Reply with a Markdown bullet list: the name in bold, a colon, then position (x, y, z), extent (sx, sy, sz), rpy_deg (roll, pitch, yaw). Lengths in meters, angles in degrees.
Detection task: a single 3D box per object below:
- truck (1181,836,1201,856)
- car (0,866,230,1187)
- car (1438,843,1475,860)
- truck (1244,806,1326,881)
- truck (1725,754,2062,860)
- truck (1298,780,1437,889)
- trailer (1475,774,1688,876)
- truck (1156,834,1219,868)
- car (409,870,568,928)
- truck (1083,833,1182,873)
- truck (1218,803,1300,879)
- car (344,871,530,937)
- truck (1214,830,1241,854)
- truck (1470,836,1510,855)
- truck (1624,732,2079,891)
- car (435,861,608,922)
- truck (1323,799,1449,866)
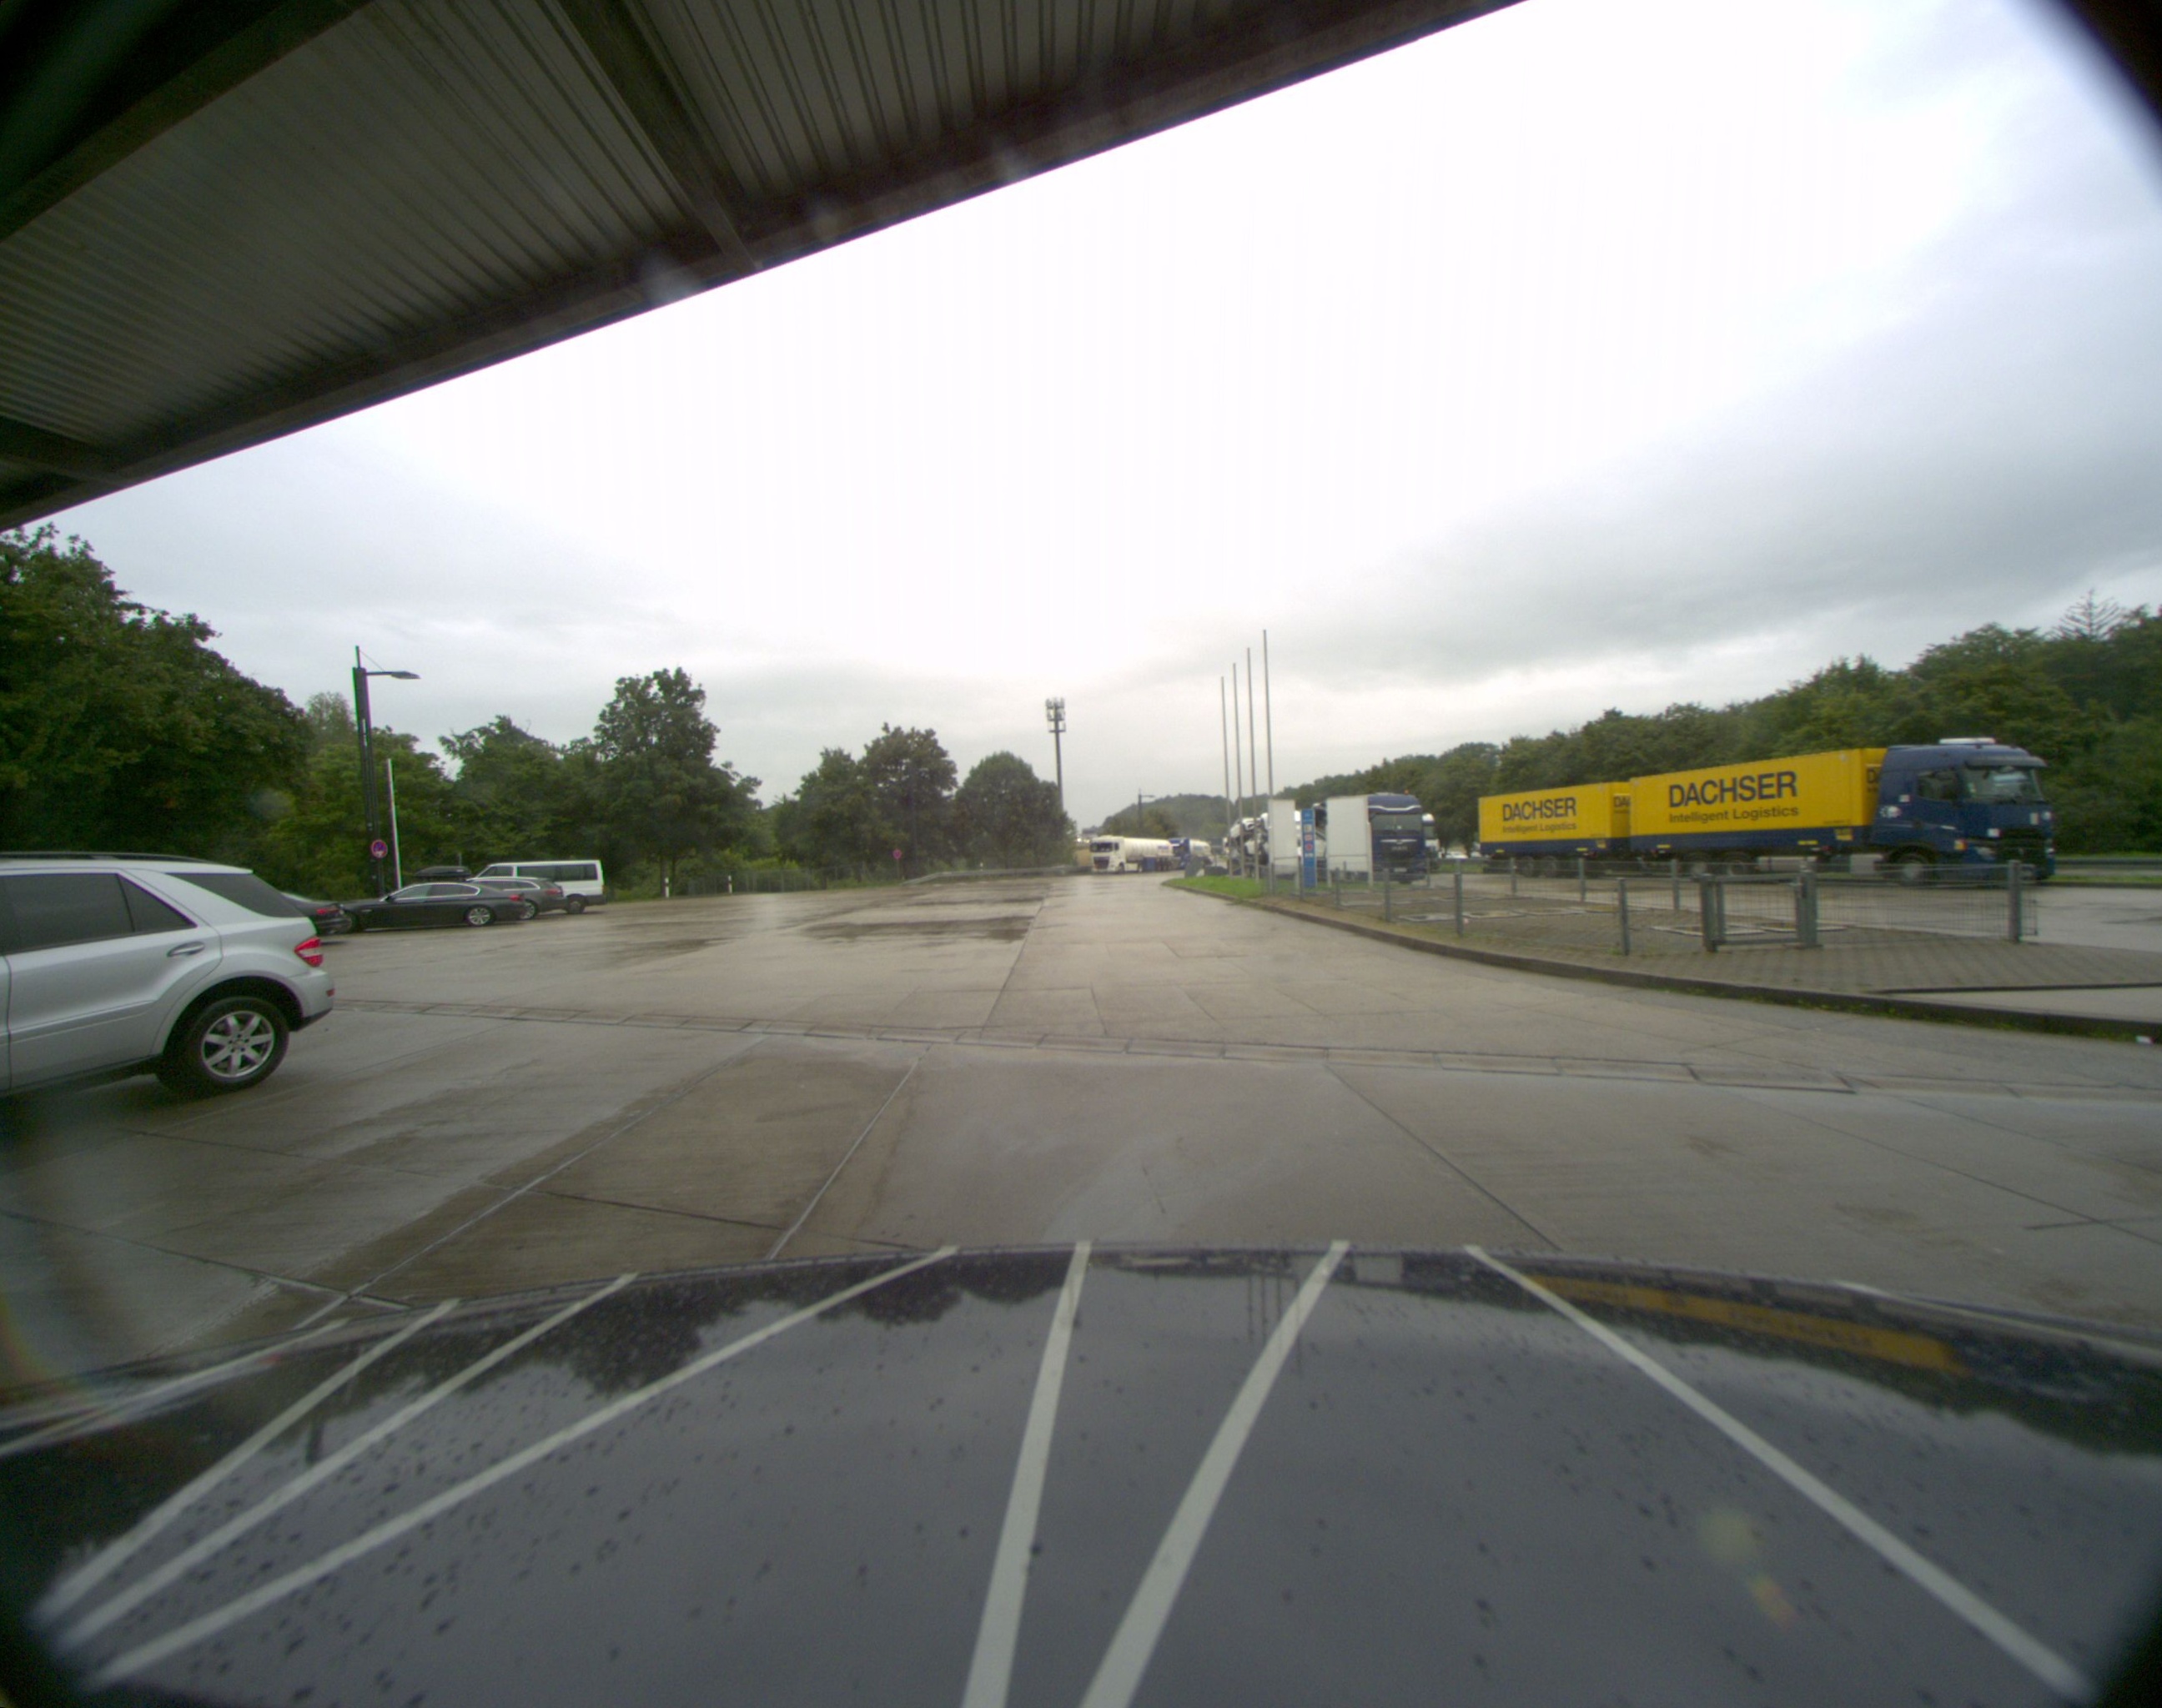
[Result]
- **truck**: position (23.426, -1.706, 162.021), extent (3.143, 4.105, 11.523), rpy_deg (-2, 1, 3)
- **car**: position (-7.104, 1.046, 3.181), extent (1.866, 1.788, 4.539), rpy_deg (-2, 1, 0)
- **car**: position (45.673, -0.322, 92.560), extent (1.730, 1.879, 4.367), rpy_deg (-2, 1, -10)
- **truck**: position (11.055, -0.553, 41.598), extent (2.665, 3.750, 4.747), rpy_deg (-2, 1, -6)
- **truck**: position (33.919, -1.756, 32.723), extent (2.421, 3.785, 10.223), rpy_deg (-2, 1, -10)
- **truck**: position (12.192, -0.791, 33.191), extent (2.665, 4.157, 7.103), rpy_deg (-2, 0, -6)
- **trailer**: position (21.800, -1.180, 33.958), extent (2.757, 3.894, 8.700), rpy_deg (-2, 1, -9)
- **truck**: position (12.791, -0.399, 89.700), extent (3.506, 3.584, 14.685), rpy_deg (-2, 0, 23)
- **car**: position (-19.463, 1.432, 25.170), extent (4.007, 1.650, 1.596), rpy_deg (-2, 0, -35)
- **truck**: position (5.463, -0.156, 75.219), extent (3.505, 3.584, 14.426), rpy_deg (-2, 0, 31)
- **truck**: position (10.579, -0.722, 45.789), extent (2.665, 4.157, 6.618), rpy_deg (-2, 1, -6)
- **car**: position (-18.868, 1.400, 22.518), extent (4.007, 1.650, 1.596), rpy_deg (-2, 0, -35)
- **truck**: position (33.880, -2.761, 176.049), extent (3.145, 5.092, 11.515), rpy_deg (-2, 1, -5)
- **truck**: position (49.887, -1.045, 92.695), extent (1.730, 2.252, 4.633), rpy_deg (-2, 1, -10)
- **truck**: position (23.162, -1.123, 24.337), extent (2.757, 3.894, 10.678), rpy_deg (-2, 1, -8)
- **car**: position (-20.419, 1.294, 28.007), extent (4.898, 1.938, 2.310), rpy_deg (-2, 0, -35)
- **truck**: position (19.892, -1.294, 50.579), extent (2.757, 3.894, 10.678), rpy_deg (-2, 1, -8)
